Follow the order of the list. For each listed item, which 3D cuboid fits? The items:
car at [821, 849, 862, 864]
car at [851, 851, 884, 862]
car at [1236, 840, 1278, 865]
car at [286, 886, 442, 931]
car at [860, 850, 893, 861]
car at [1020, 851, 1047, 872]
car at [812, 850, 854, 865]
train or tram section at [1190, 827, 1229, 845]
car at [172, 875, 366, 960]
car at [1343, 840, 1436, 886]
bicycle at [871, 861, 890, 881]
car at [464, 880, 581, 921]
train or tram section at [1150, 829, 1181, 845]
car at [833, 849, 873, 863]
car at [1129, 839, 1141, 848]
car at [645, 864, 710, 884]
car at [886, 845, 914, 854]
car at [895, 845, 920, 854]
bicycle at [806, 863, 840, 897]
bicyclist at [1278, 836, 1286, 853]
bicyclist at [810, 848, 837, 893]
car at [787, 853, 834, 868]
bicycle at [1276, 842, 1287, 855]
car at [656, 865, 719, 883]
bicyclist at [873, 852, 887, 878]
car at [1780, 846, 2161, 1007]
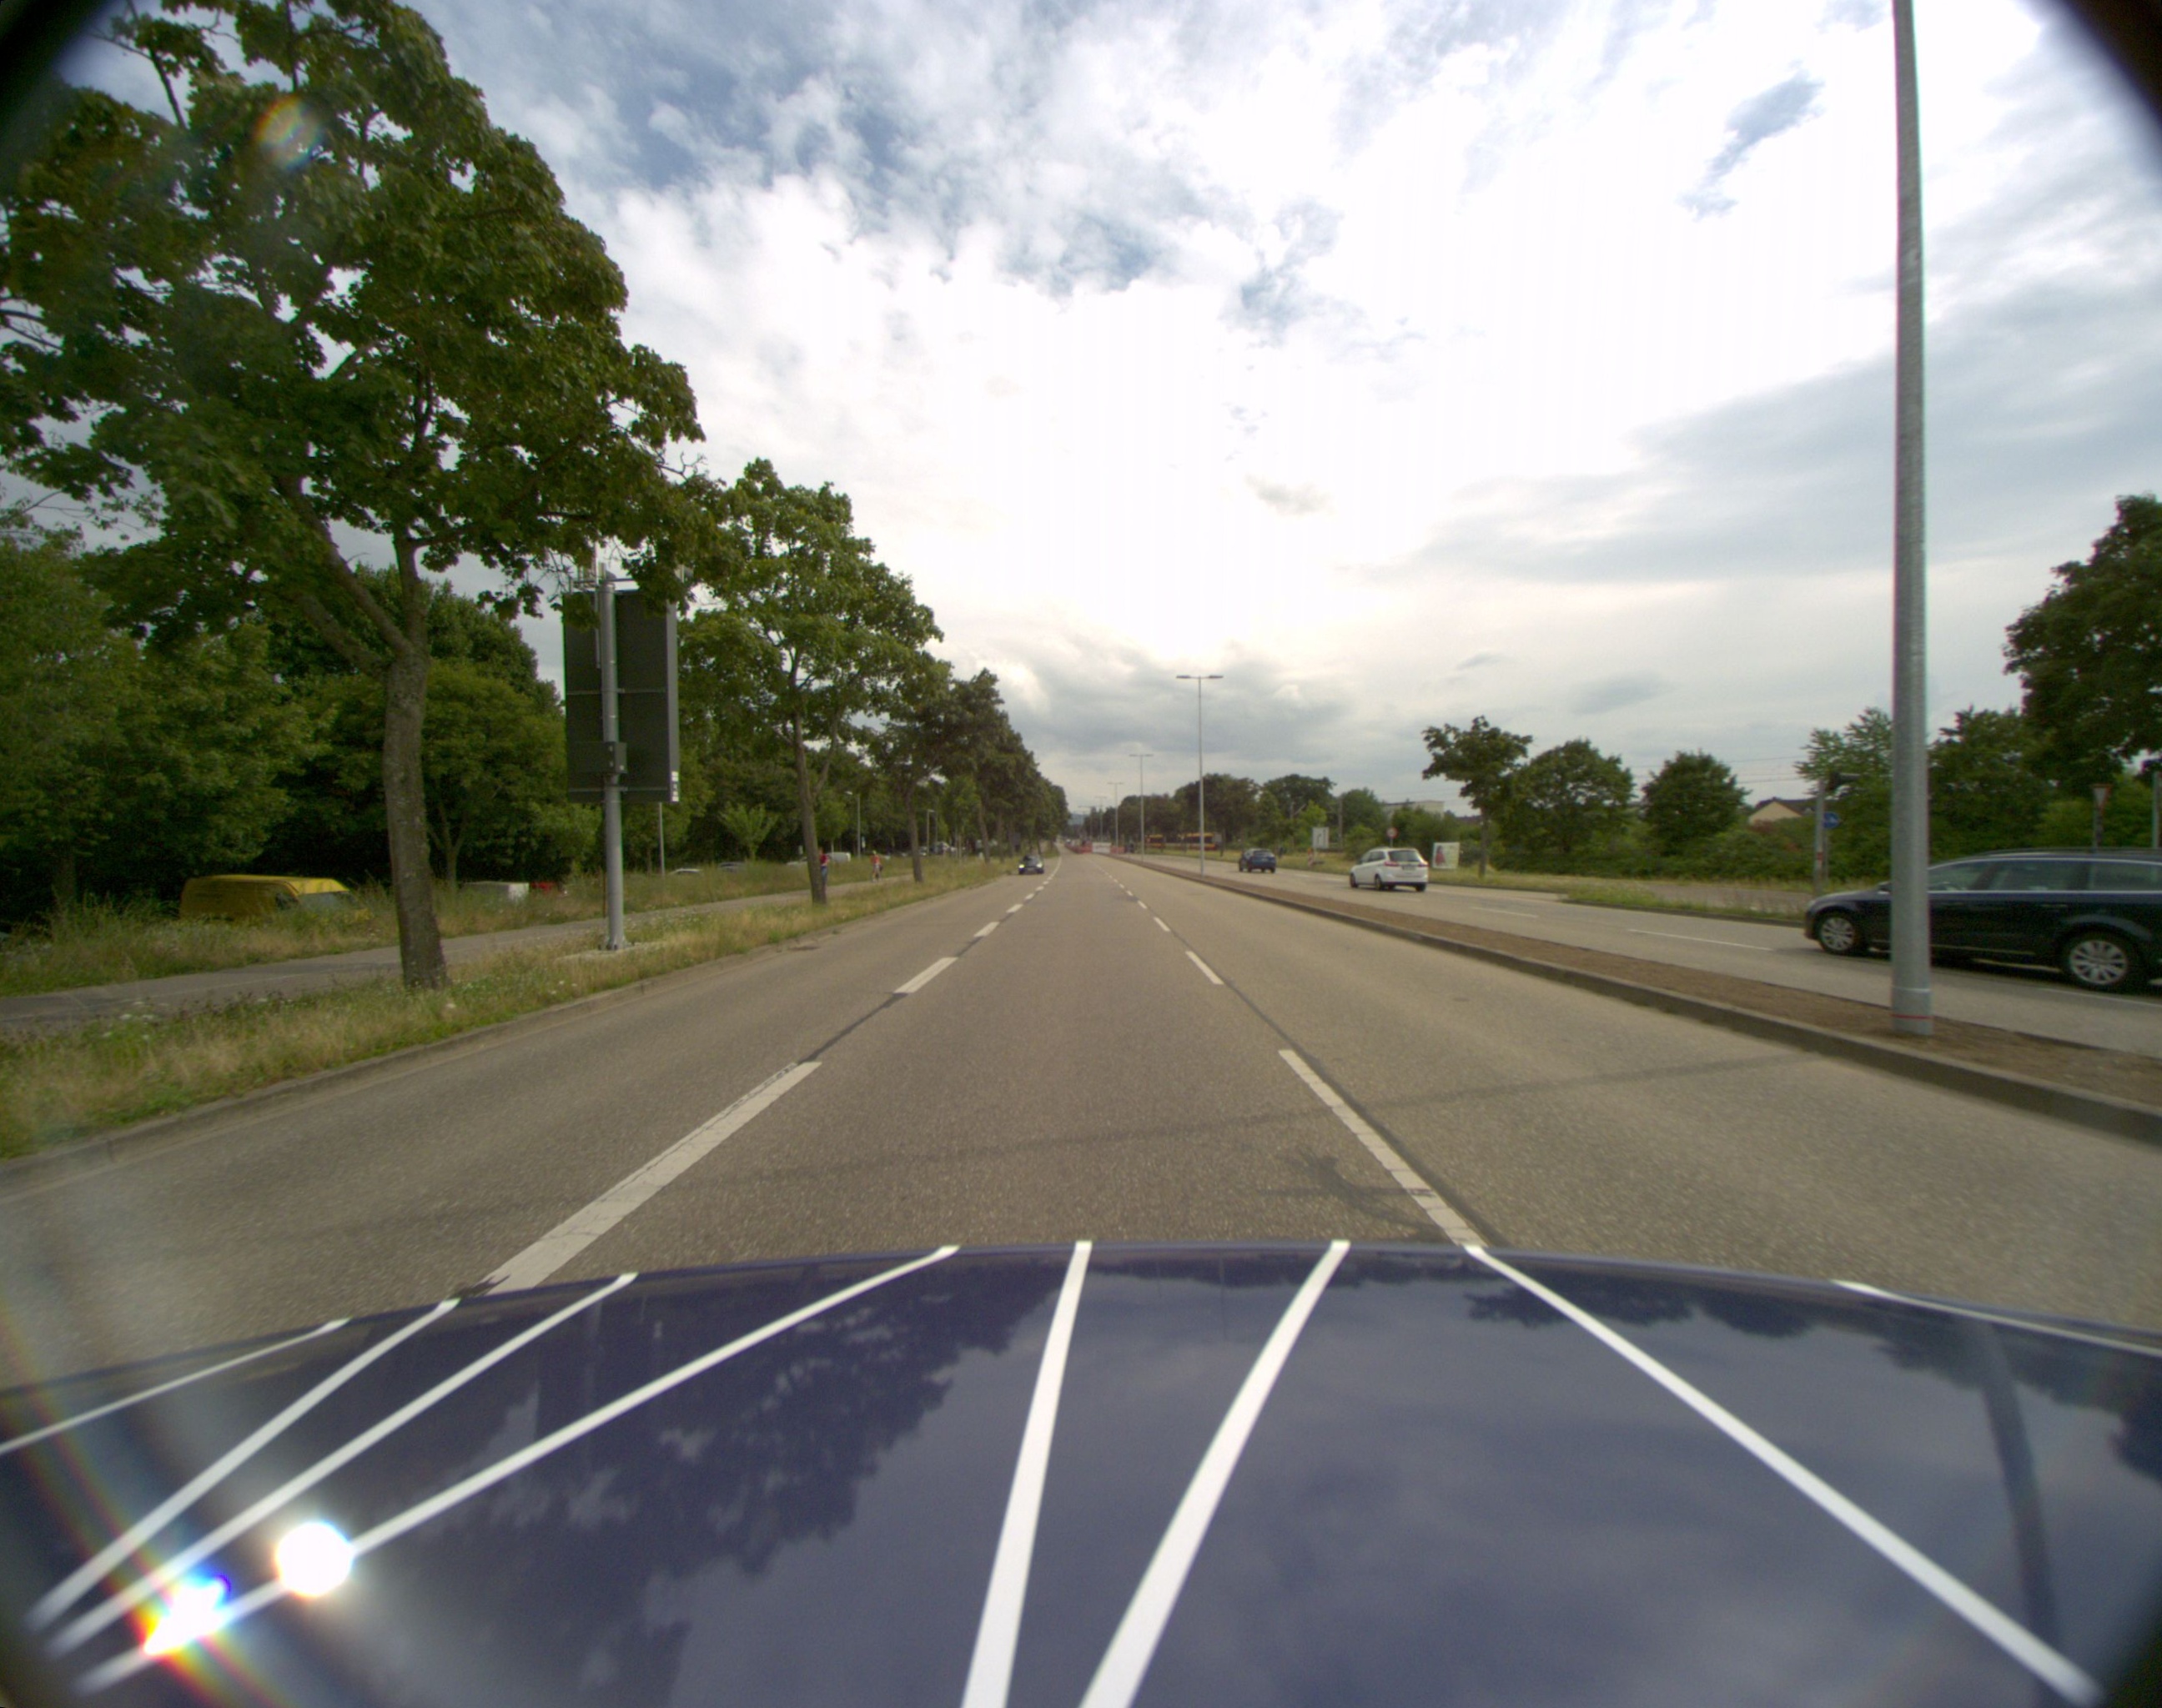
[{"bbox_3d":[-26.512,0.279,84.191,3.998,1.576,1.803,0,1,-3],"label":"car"},{"bbox_3d":[-27.909,0.314,99.366,3.999,1.359,1.618,0,1,-6],"label":"car"},{"bbox_3d":[12.235,-0.122,52.968,1.852,1.644,4.563,0,1,0],"label":"car"},{"bbox_3d":[-26.964,2.036,28.680,3.996,1.499,2.000,0,1,2],"label":"car"},{"bbox_3d":[-27.639,0.189,102.834,3.999,1.359,1.618,0,1,-6],"label":"car"},{"bbox_3d":[-3.450,0.531,55.714,1.773,1.439,4.322,-1,1,-1],"label":"car"},{"bbox_3d":[-26.345,0.327,80.766,3.999,1.547,1.650,0,1,-6],"label":"car"},{"bbox_3d":[25.379,-3.463,151.310,2.924,3.402,11.930,-2,1,-15],"label":"train or tram section"},{"bbox_3d":[-27.195,2.076,25.548,4.541,2.655,1.926,-1,1,3],"label":"car"},{"bbox_3d":[12.174,0.294,30.352,1.773,1.644,4.637,1,1,0],"label":"car"},{"bbox_3d":[-10.427,0.868,39.502,0.515,0.959,1.782,0,1,0],"label":"bicycle"},{"bbox_3d":[-26.348,2.162,35.940,3.997,1.783,1.999,0,1,-1],"label":"car"},{"bbox_3d":[19.251,-3.857,174.331,2.924,3.402,11.930,-2,1,-14],"label":"train or tram section"},{"bbox_3d":[-25.938,0.206,86.496,3.998,1.576,1.803,0,1,-3],"label":"car"},{"bbox_3d":[10.447,-2.071,147.319,1.852,1.644,4.257,0,1,-4],"label":"car"},{"bbox_3d":[-26.066,1.289,49.180,3.448,1.184,1.357,-1,1,-6],"label":"car"},{"bbox_3d":[-28.020,-0.684,117.866,3.999,1.359,1.618,0,1,-6],"label":"car"},{"bbox_3d":[-28.744,-0.759,125.979,3.999,1.359,1.618,0,1,-6],"label":"car"},{"bbox_3d":[-9.622,0.937,28.373,0.515,1.141,2.231,0,1,0],"label":"bicycle"},{"bbox_3d":[22.206,-1.022,84.064,0.645,1.821,0.819,0,1,0],"label":"bicyclist"},{"bbox_3d":[-9.601,0.607,28.348,0.653,1.648,0.781,-2,2,0],"label":"bicyclist"},{"bbox_3d":[-26.120,0.597,73.510,3.999,1.435,1.650,0,1,-6],"label":"car"},{"bbox_3d":[22.180,-0.583,84.088,0.537,1.414,2.166,1,1,0],"label":"bicycle"},{"bbox_3d":[-26.640,1.345,51.504,3.448,1.184,1.357,-1,1,-6],"label":"car"},{"bbox_3d":[-10.432,0.564,39.436,0.540,1.275,0.450,-2,2,0],"label":"bicyclist"},{"bbox_3d":[11.240,0.682,8.863,1.773,1.523,4.740,0,1,0],"label":"car"}]
